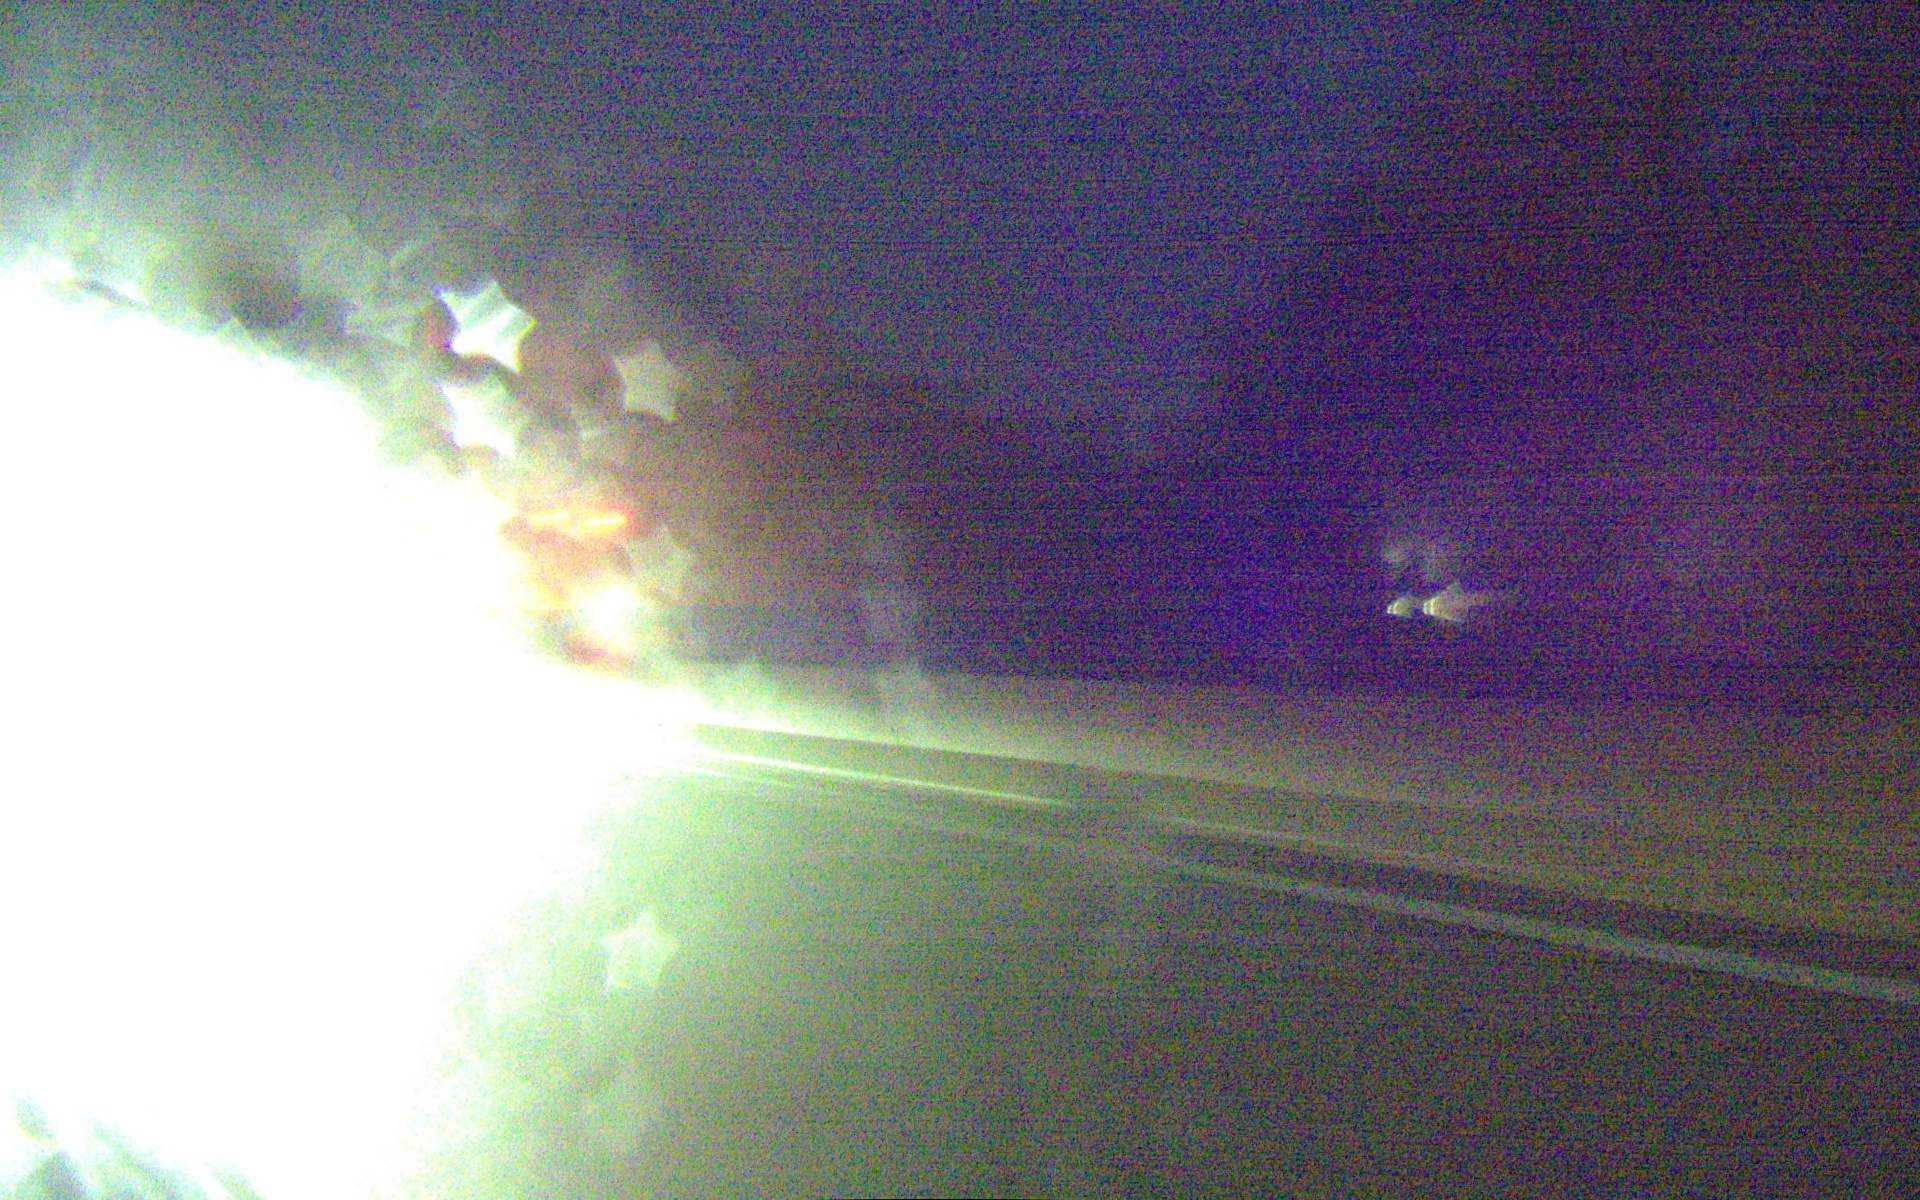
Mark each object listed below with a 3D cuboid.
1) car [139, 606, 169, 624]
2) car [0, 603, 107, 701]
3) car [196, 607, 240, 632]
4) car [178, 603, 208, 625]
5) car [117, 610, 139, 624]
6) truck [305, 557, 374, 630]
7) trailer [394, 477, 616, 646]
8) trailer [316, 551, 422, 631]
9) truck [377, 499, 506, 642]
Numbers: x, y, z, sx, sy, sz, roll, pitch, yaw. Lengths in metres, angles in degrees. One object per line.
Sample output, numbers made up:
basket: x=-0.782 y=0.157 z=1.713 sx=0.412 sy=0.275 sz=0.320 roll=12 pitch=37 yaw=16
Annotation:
car: x=-86.234 y=1.608 z=108.220 sx=4.001 sy=1.772 sz=1.971 roll=-1 pitch=-1 yaw=44
car: x=-20.465 y=1.058 z=22.170 sx=5.556 sy=1.898 sz=2.113 roll=-1 pitch=0 yaw=44
car: x=-50.964 y=1.324 z=69.483 sx=3.865 sy=1.660 sz=1.760 roll=-1 pitch=-1 yaw=44
car: x=-88.150 y=1.630 z=116.305 sx=2.149 sy=2.459 sz=4.940 roll=-1 pitch=0 yaw=-44
car: x=-98.083 y=2.027 z=119.302 sx=1.854 sy=1.639 sz=4.004 roll=0 pitch=-1 yaw=-43
truck: x=-45.130 y=-0.432 z=73.570 sx=2.742 sy=5.013 sz=6.719 roll=-1 pitch=0 yaw=-45
trailer: x=-19.055 y=-1.288 z=41.482 sx=14.170 sy=5.939 sz=2.877 roll=-1 pitch=0 yaw=43
trailer: x=-40.414 y=-0.499 z=68.815 sx=2.742 sy=5.013 sz=14.114 roll=-1 pitch=0 yaw=-45
truck: x=-23.394 y=-1.216 z=45.515 sx=6.878 sy=5.939 sz=2.872 roll=-1 pitch=0 yaw=43
